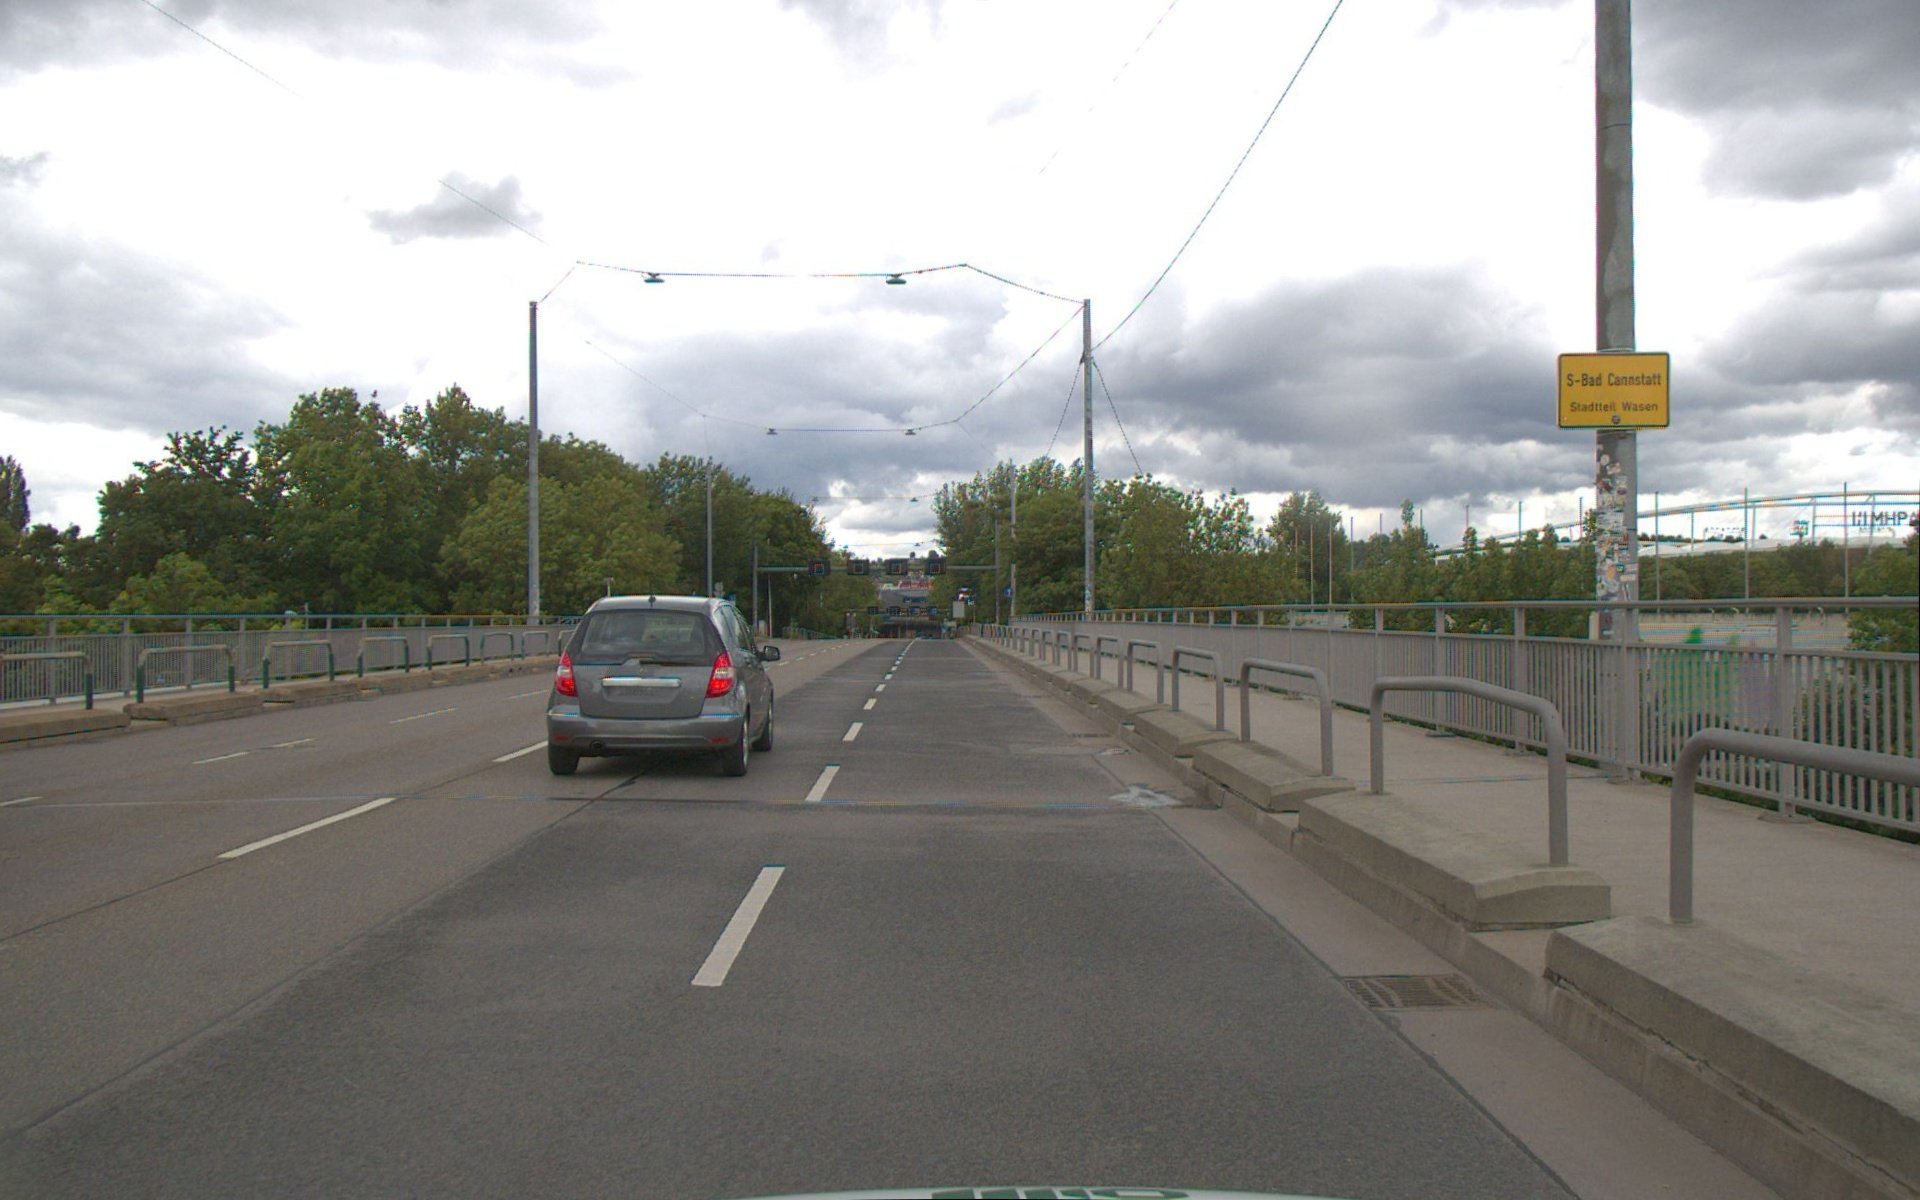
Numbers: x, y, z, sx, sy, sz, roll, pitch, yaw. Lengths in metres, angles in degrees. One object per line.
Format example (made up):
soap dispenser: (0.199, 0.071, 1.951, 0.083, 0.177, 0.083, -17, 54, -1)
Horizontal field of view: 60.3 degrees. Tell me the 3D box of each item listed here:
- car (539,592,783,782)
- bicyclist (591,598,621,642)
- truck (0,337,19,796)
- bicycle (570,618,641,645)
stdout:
car: (-2.708, 0.734, 15.799, 1.710, 1.577, 3.870, 0, 0, -2)
bicyclist: (-14.502, 0.823, 67.721, 1.110, 1.795, 0.904, 0, -1, -6)
truck: (-8.931, -0.245, 8.212, 2.945, 3.628, 9.979, -1, 0, -1)
bicycle: (-14.497, 1.287, 67.711, 2.737, 1.069, 0.919, 0, -1, -6)
